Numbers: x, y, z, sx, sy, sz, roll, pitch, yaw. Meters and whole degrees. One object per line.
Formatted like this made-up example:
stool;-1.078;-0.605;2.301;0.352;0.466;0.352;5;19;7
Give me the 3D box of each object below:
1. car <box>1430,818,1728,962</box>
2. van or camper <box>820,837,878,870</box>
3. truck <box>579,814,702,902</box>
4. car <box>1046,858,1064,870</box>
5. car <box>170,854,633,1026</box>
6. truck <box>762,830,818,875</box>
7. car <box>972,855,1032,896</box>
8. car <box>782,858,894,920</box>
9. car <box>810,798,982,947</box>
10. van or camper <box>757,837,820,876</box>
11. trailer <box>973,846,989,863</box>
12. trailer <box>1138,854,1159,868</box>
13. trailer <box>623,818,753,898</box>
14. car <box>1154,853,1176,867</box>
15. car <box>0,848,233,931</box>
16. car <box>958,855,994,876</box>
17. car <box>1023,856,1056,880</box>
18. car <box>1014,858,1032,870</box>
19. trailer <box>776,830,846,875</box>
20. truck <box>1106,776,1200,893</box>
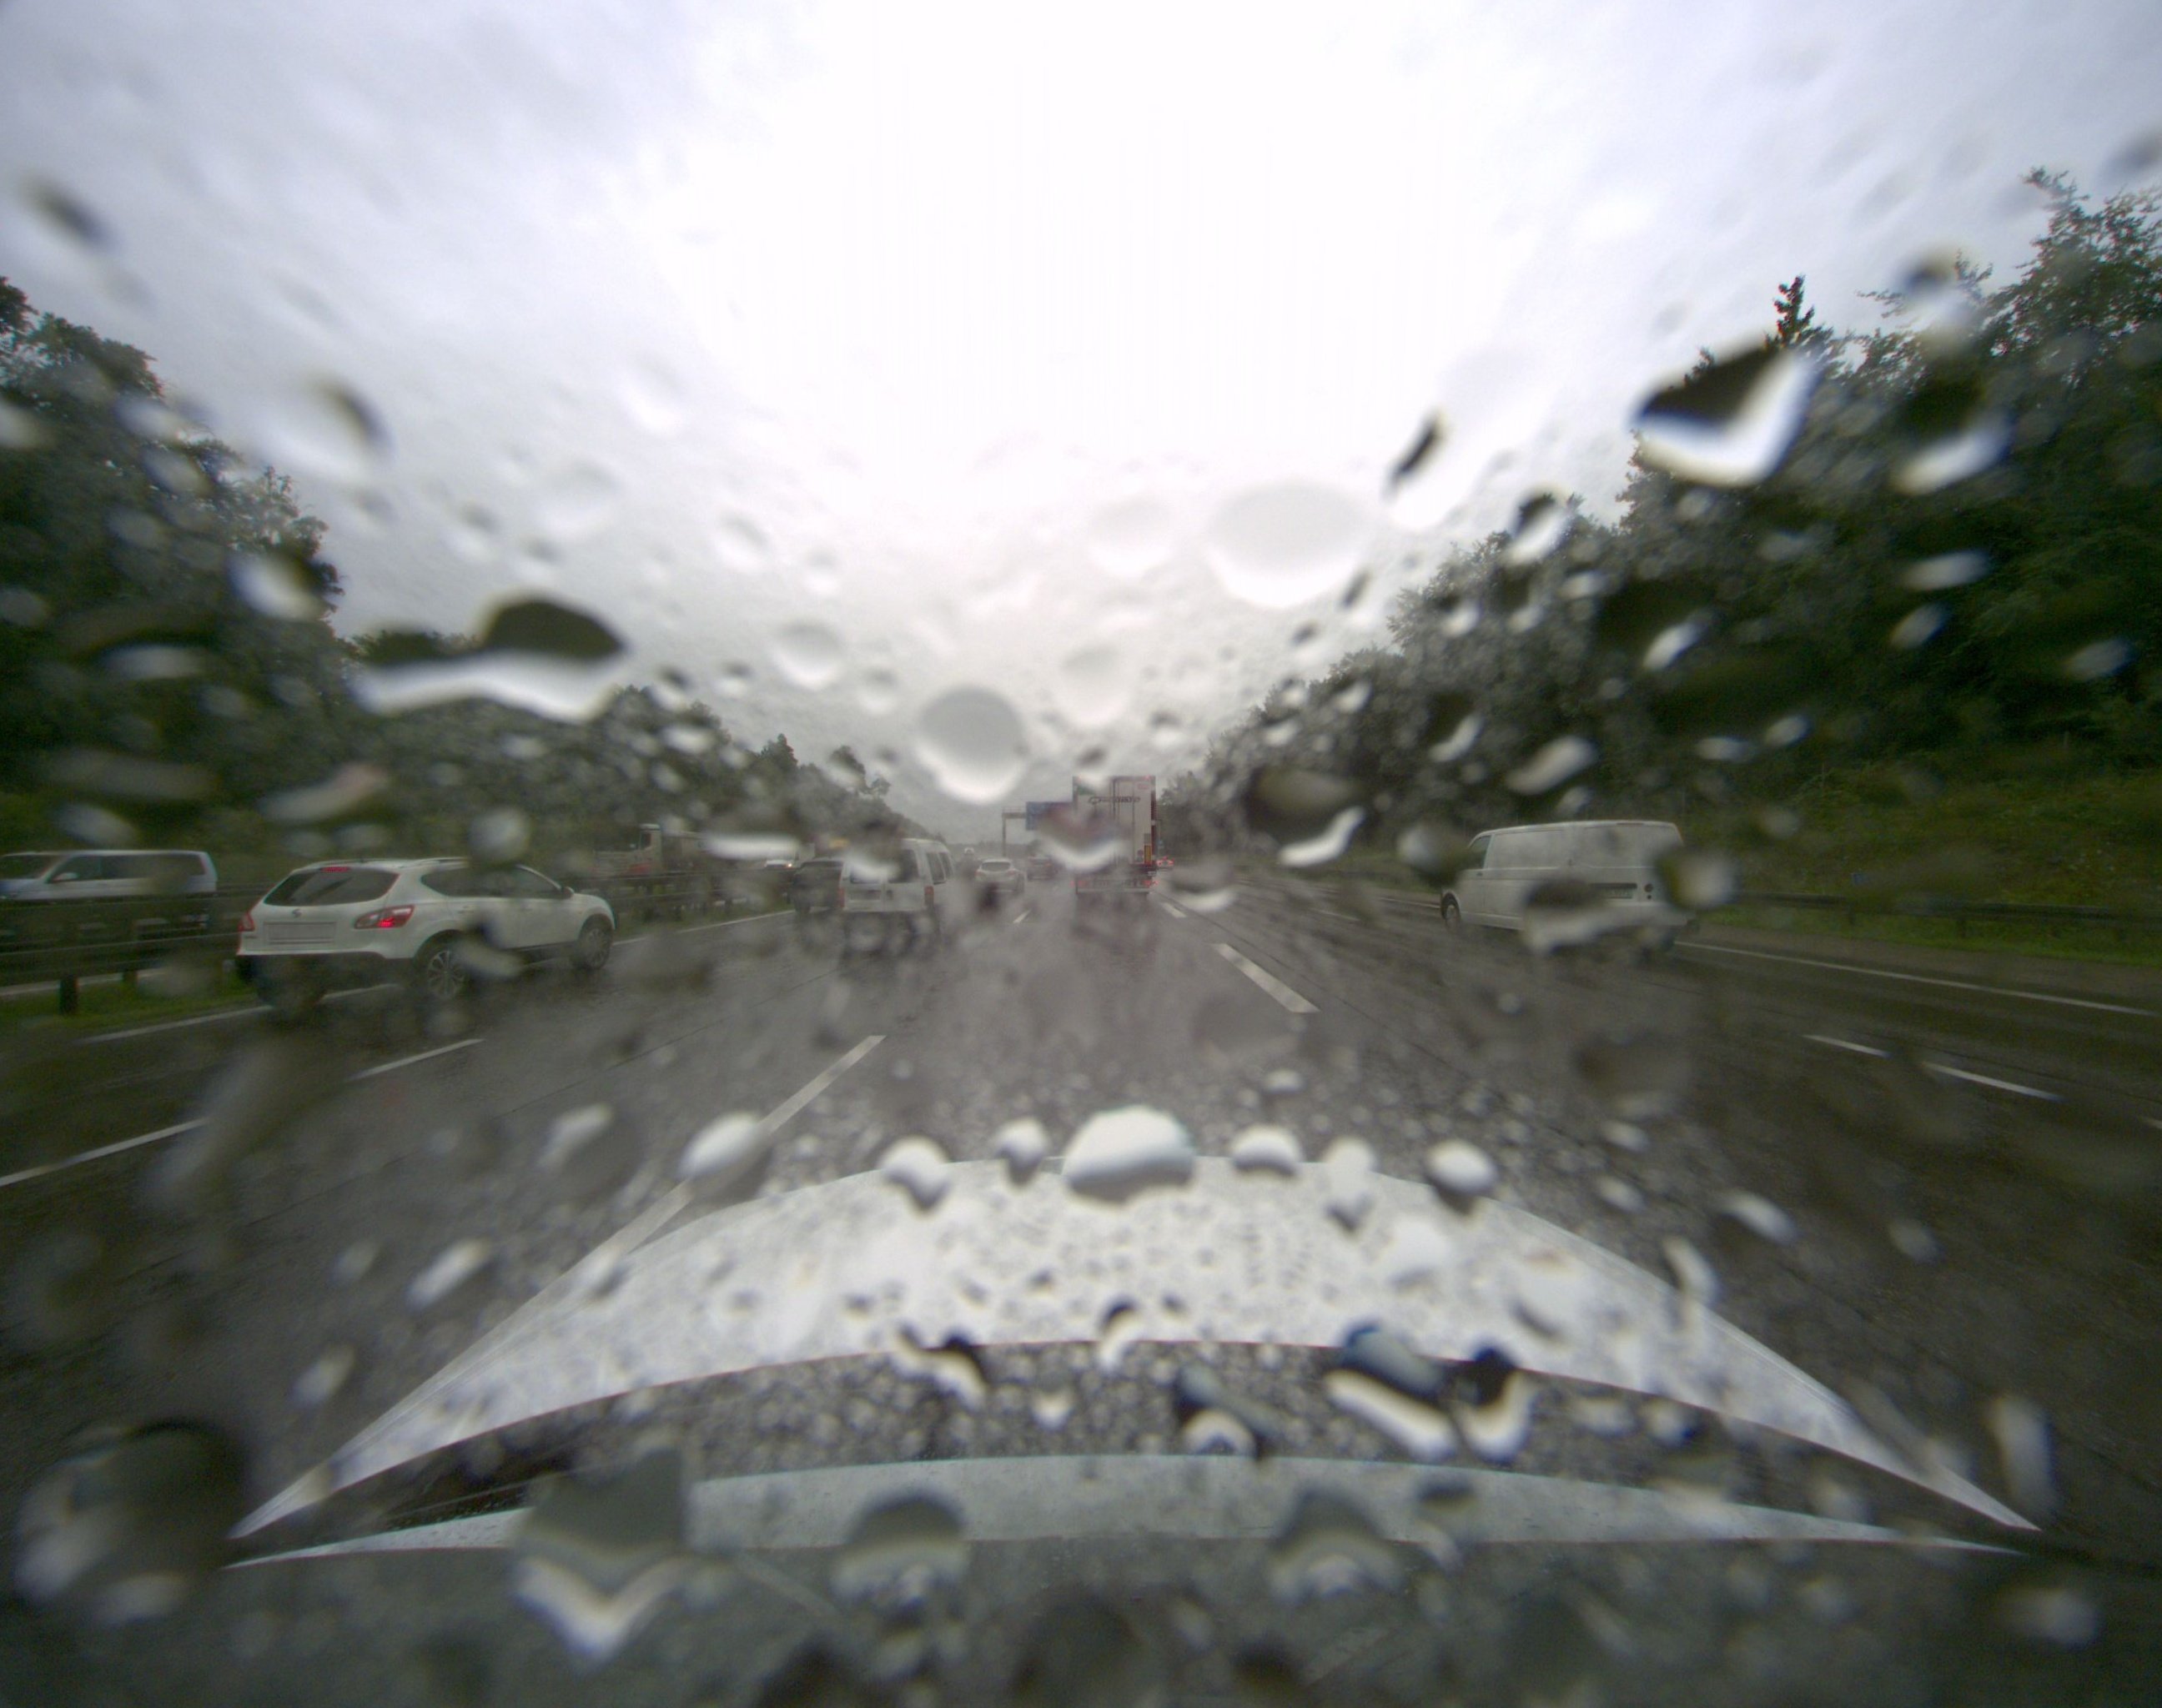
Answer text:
car;7.726;0.469;13.347;1.983;1.921;4.766;-1;0;0
van or camper;-21.824;-0.023;77.116;2.832;2.978;8.787;-1;0;1
truck;-21.662;0.144;40.522;2.369;3.954;6.538;-2;0;1
car;-3.029;1.203;95.470;1.839;1.330;4.467;-1;0;1
car;-7.695;0.821;9.981;1.839;1.591;4.467;-1;0;1
truck;-25.745;-0.122;72.382;2.695;3.818;6.264;-1;0;0
car;-3.290;0.845;34.555;1.837;1.591;4.076;-1;0;4
car;-7.034;0.946;24.115;1.839;1.591;4.468;-1;0;2
car;-3.519;0.310;16.648;2.204;2.573;5.017;-1;0;2
van or camper;-20.633;0.135;57.719;2.191;2.547;6.118;-2;0;0
trailer;-24.492;0.218;199.908;2.533;4.025;13.844;0;0;-1
trailer;8.711;0.856;104.941;2.236;1.714;5.081;-1;0;-1
trailer;-21.546;0.221;45.443;2.368;3.954;9.425;-2;0;1
car;8.738;0.597;84.560;1.785;1.407;4.226;-1;0;-1
car;-24.046;0.774;19.630;1.988;1.770;5.035;-2;0;-2
car;-7.240;0.749;56.341;1.839;1.330;4.467;-1;0;1
car;-2.853;0.955;56.749;1.838;1.591;4.470;-1;0;3
car;-6.958;1.217;97.954;1.839;1.330;4.467;-1;0;1
trailer;-25.744;-0.106;78.400;2.610;4.025;12.372;0;0;0
truck;2.530;-0.567;30.754;2.860;3.562;11.311;-1;0;3
